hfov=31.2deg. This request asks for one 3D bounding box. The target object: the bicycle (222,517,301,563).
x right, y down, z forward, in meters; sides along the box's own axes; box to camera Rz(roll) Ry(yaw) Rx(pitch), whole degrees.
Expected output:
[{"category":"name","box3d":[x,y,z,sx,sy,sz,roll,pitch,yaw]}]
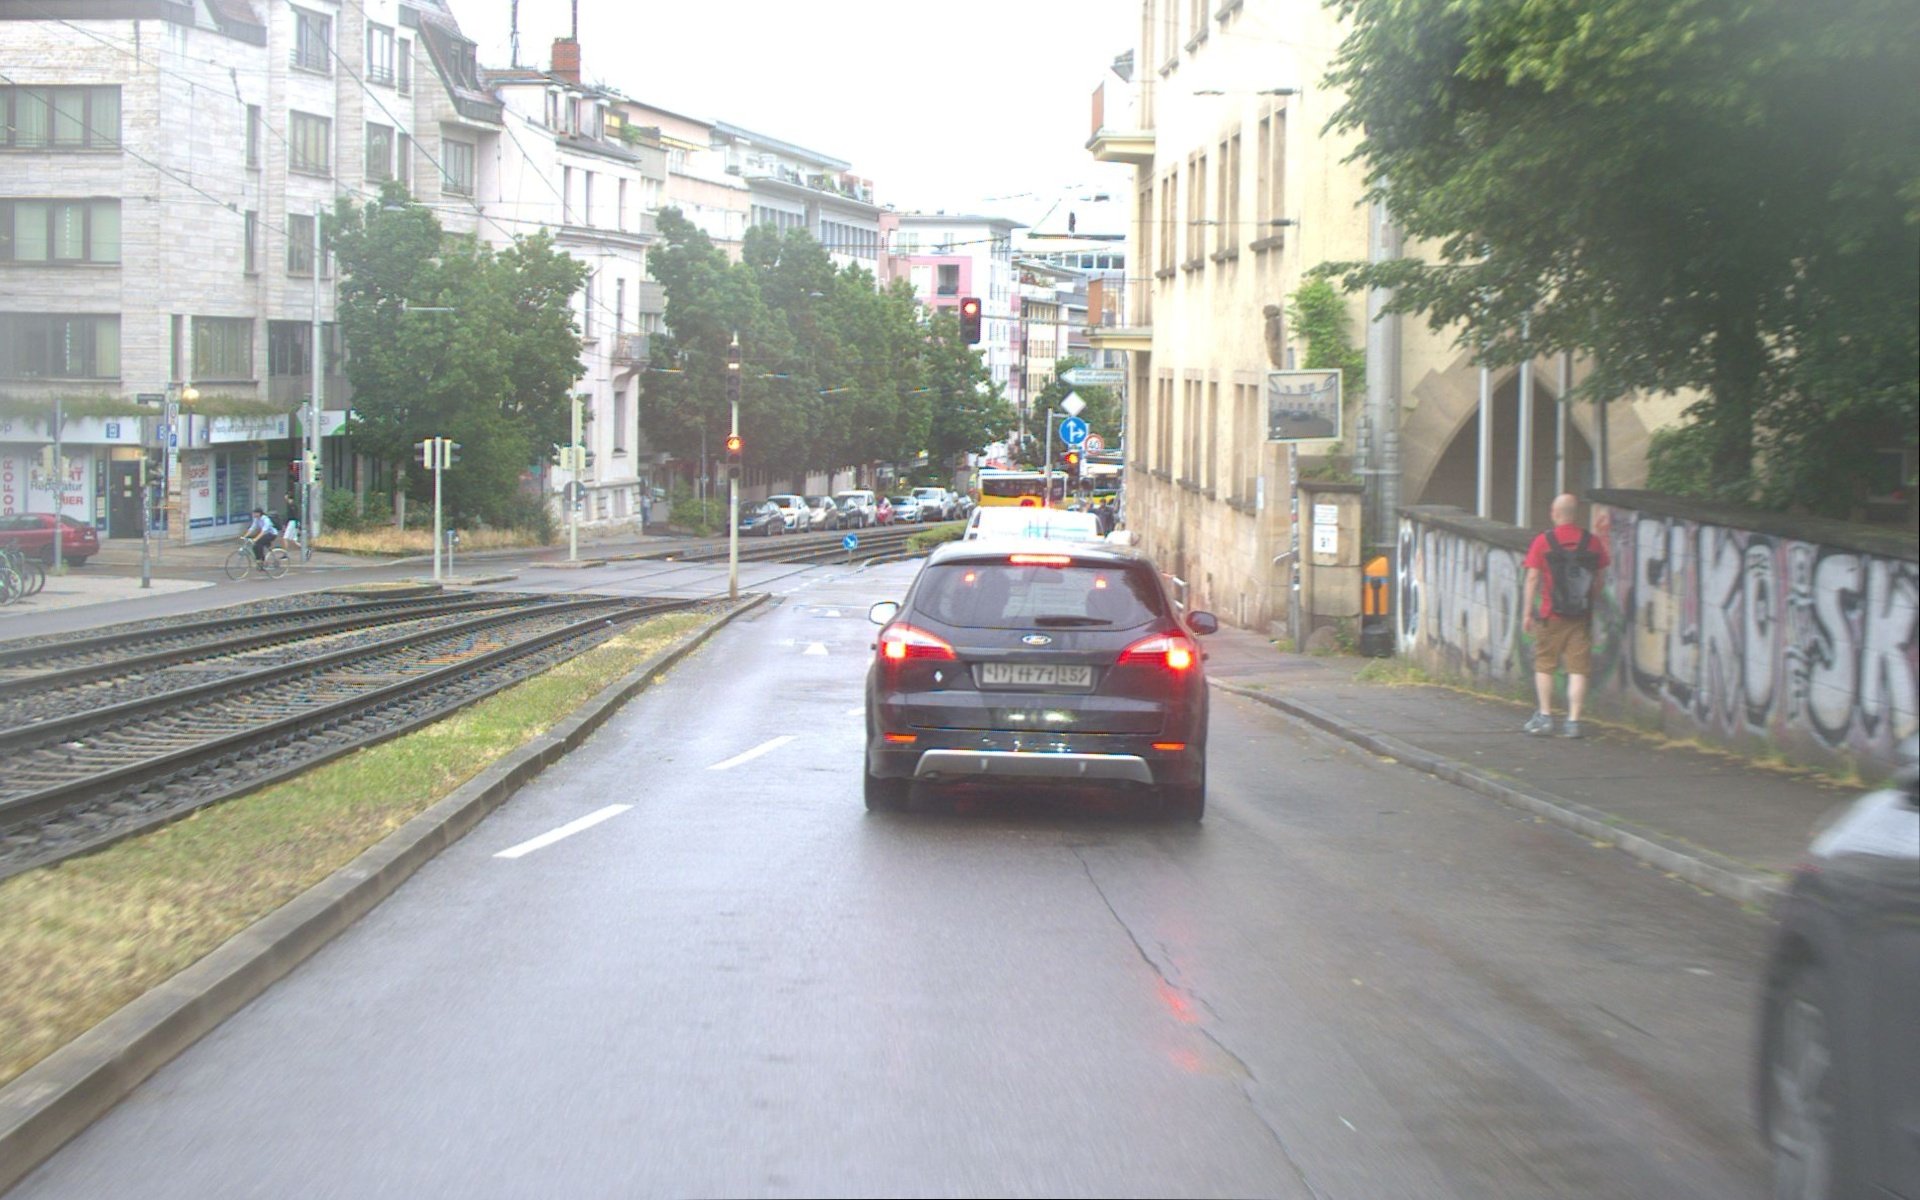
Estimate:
[{"category":"bicycle","box3d":[-16.619,-1.432,81.858,1.797,1.060,0.457,0,2,-36]}]

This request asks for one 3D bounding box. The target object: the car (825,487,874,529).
[{"category":"car","box3d":[-5.320,-4.436,165.581,1.994,2.006,4.000,1,2,3]}]

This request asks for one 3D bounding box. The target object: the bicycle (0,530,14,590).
[{"category":"bicycle","box3d":[-17.791,-0.737,61.255,1.796,1.060,0.457,1,2,-15]}]

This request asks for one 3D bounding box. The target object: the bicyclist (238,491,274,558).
[{"category":"bicyclist","box3d":[-16.738,-1.798,81.752,0.700,1.568,0.462,0,1,-36]}]

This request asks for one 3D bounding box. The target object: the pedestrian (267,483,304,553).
[{"category":"pedestrian","box3d":[-18.614,-2.260,94.845,0.905,1.925,0.825,1,1,-5]}]

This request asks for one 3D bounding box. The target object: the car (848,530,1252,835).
[{"category":"car","box3d":[0.387,0.380,19.247,1.920,1.474,4.001,2,1,-3]}]

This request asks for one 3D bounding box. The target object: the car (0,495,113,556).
[{"category":"car","box3d":[-24.781,-1.998,91.114,4.134,1.563,1.823,1,2,8]}]

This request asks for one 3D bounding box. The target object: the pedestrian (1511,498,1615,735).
[{"category":"pedestrian","box3d":[4.427,0.113,25.266,0.632,1.715,0.711,0,1,0]}]

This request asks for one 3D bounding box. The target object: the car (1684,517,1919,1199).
[{"category":"car","box3d":[2.478,0.658,5.441,1.665,1.519,4.109,2,1,-1]}]

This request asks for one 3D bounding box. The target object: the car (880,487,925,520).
[{"category":"car","box3d":[-2.982,-5.016,178.725,1.994,1.656,4.000,1,2,3]}]

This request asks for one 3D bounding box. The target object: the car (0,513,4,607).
[{"category":"car","box3d":[-16.141,-0.602,53.019,1.911,1.498,4.238,0,1,-5]}]

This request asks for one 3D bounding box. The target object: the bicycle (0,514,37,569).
[{"category":"bicycle","box3d":[-18.545,-1.126,65.155,1.949,1.024,0.721,1,2,-10]}]

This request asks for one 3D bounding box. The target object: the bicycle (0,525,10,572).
[{"category":"bicycle","box3d":[-18.556,-0.977,63.940,1.649,0.863,0.569,1,2,-11]}]

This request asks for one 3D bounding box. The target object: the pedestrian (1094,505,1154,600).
[{"category":"pedestrian","box3d":[3.117,-0.907,65.396,1.045,1.789,0.902,1,1,-3]}]

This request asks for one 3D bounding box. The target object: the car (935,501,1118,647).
[{"category":"car","box3d":[0.900,-0.373,43.725,2.137,1.739,4.218,0,2,4]}]

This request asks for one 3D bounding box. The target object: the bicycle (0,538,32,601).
[{"category":"bicycle","box3d":[-16.955,-0.545,59.338,1.796,1.060,0.457,1,2,-15]}]

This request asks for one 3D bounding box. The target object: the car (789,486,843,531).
[{"category":"car","box3d":[-6.465,-4.118,154.682,1.994,2.006,4.000,1,2,3]}]

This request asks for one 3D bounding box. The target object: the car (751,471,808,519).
[{"category":"car","box3d":[-7.772,-4.523,148.357,1.994,2.006,4.000,1,2,3]}]

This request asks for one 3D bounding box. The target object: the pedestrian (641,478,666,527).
[{"category":"pedestrian","box3d":[-12.475,-3.965,139.986,0.941,2.007,0.765,0,1,-11]}]

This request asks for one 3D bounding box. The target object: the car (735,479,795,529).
[{"category":"car","box3d":[-8.048,-3.978,142.068,1.994,2.006,4.000,1,2,3]}]
